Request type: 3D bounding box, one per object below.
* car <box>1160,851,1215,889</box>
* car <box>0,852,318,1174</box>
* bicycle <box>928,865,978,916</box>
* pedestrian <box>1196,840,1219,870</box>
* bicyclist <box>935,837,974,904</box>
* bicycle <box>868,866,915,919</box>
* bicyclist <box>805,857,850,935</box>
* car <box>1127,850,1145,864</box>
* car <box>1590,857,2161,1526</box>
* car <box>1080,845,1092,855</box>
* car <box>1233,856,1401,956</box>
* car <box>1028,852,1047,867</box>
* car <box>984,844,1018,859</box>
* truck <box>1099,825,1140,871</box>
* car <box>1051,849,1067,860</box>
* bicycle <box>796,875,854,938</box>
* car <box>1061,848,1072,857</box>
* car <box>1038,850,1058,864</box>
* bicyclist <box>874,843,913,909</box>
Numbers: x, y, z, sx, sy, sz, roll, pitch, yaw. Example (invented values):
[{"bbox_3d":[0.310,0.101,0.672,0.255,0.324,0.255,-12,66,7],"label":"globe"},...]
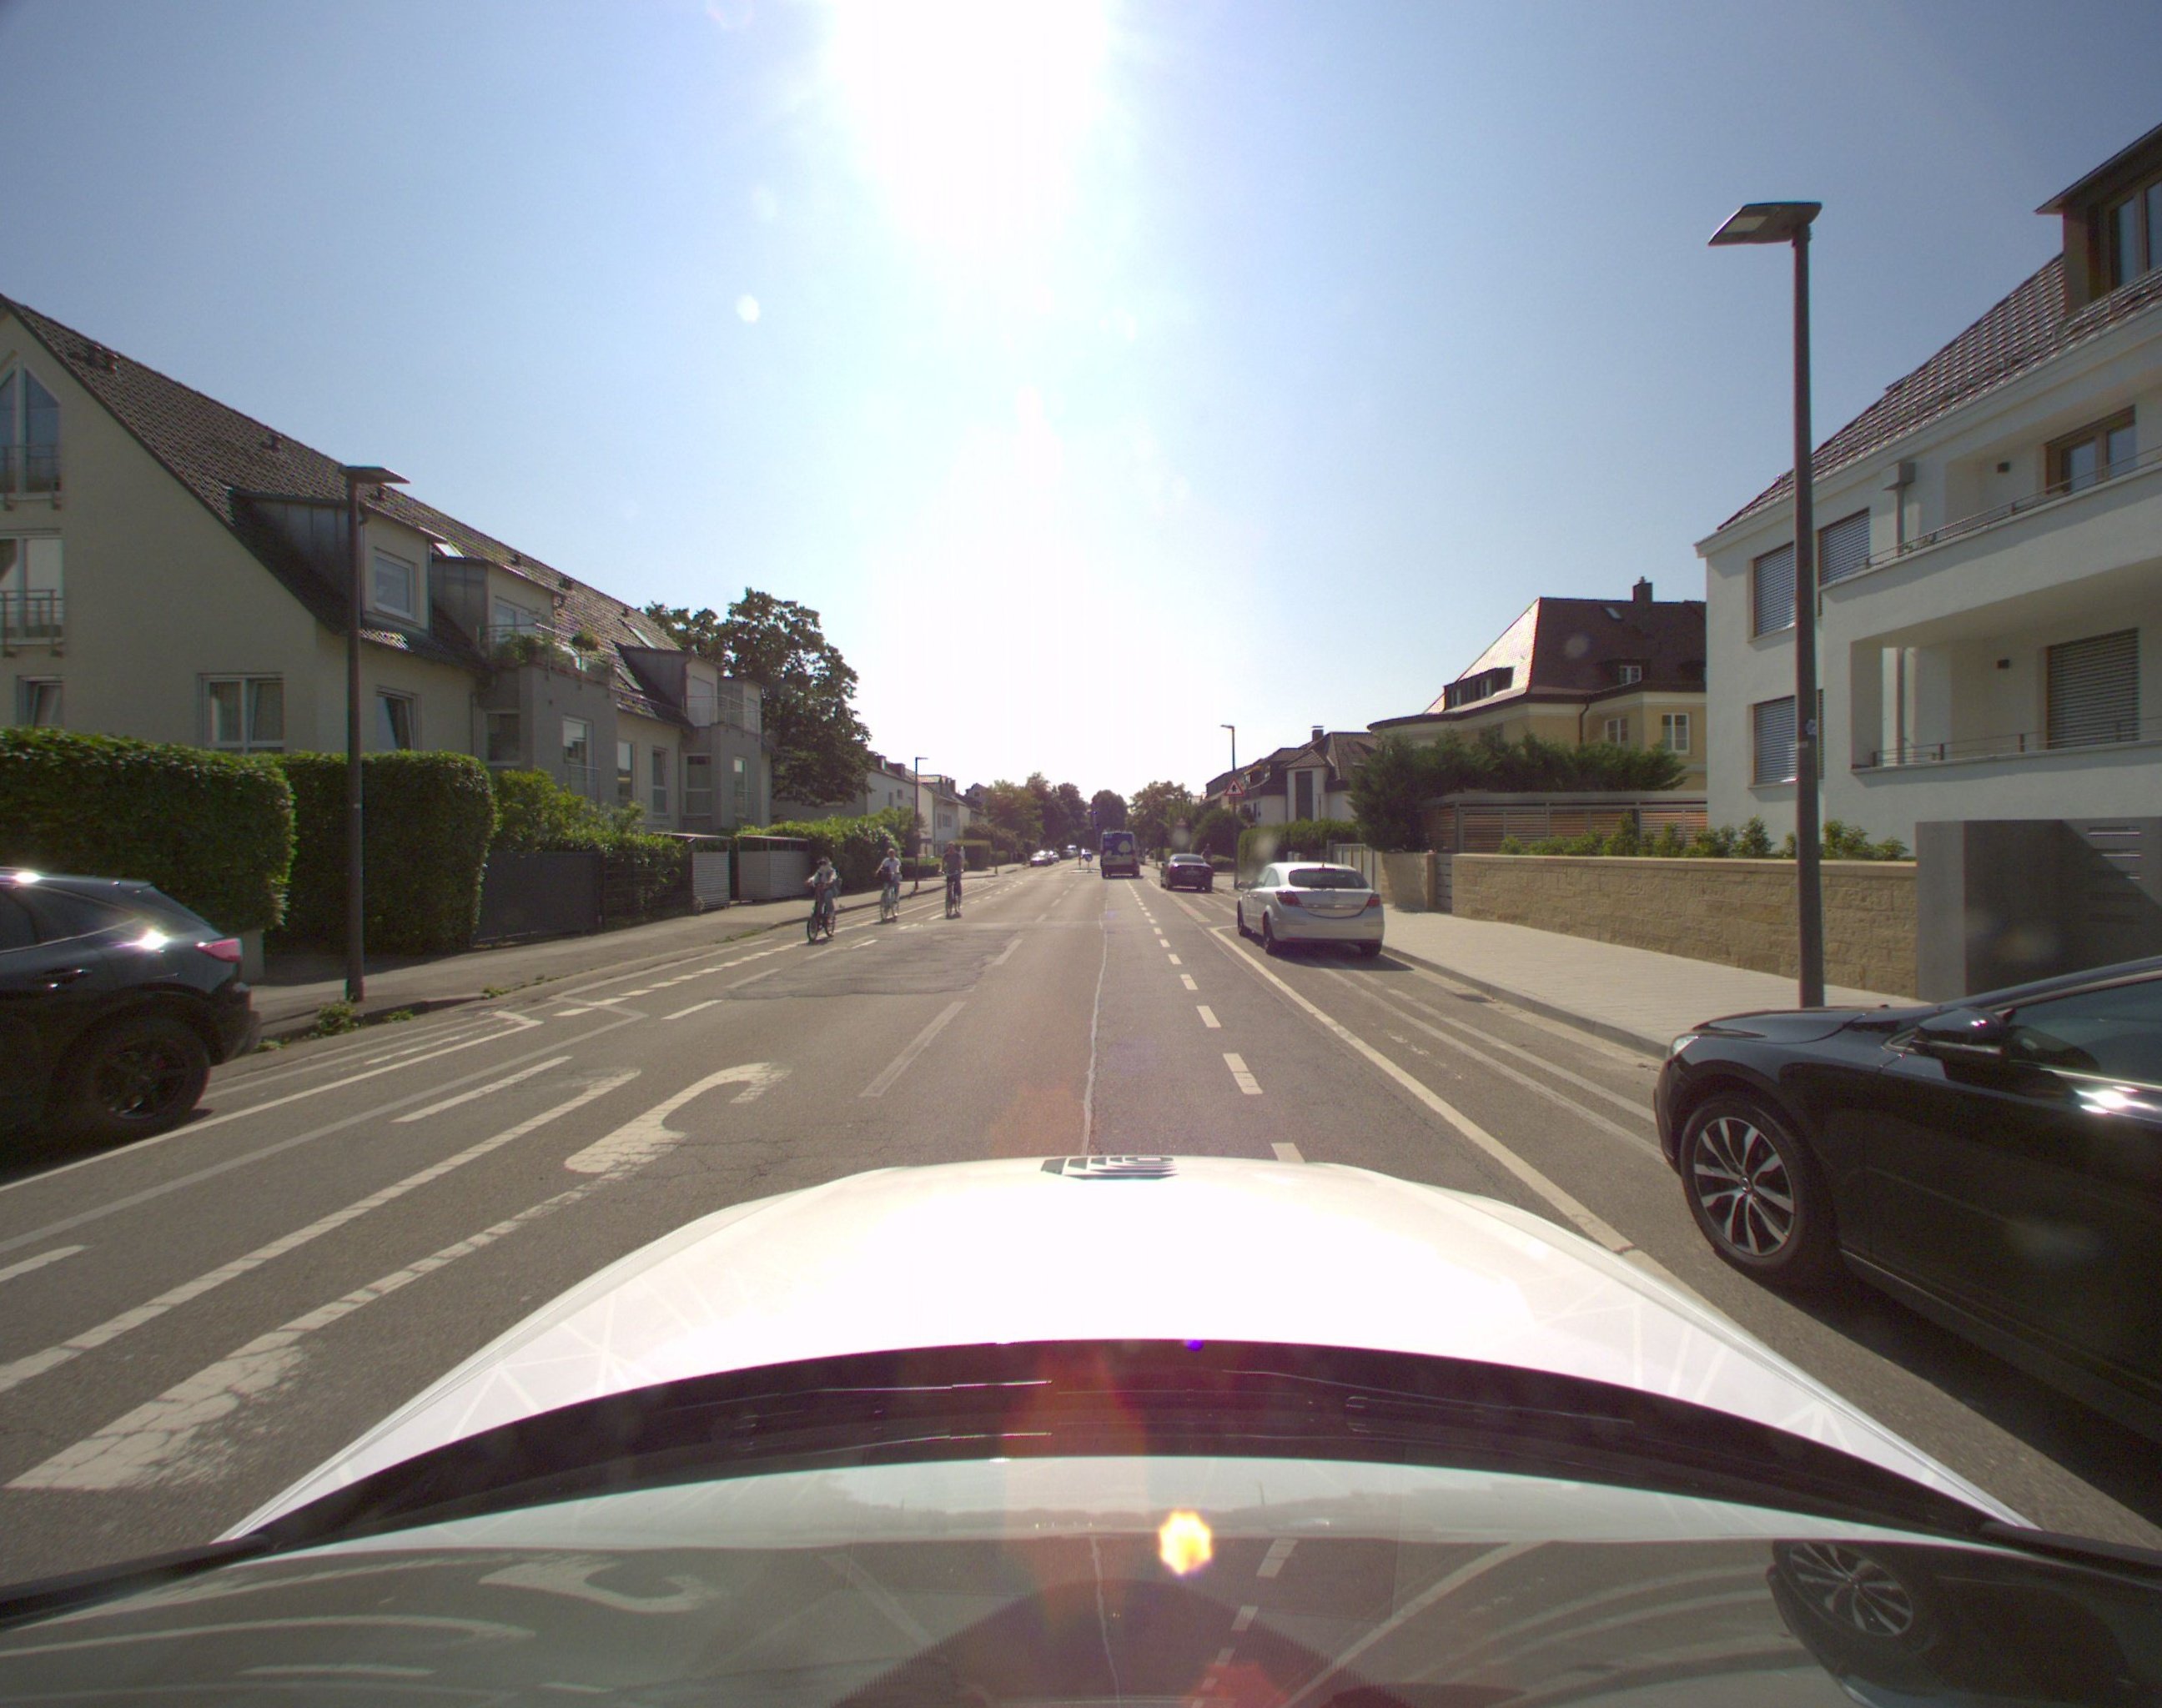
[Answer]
[{"bbox_3d":[4.197,0.588,32.655,1.730,1.329,4.262,3,1,2],"label":"car"},{"bbox_3d":[-6.412,0.869,3.510,1.844,1.610,4.450,-4,0,2],"label":"car"},{"bbox_3d":[-3.278,0.903,21.085,0.779,1.166,2.421,-3,0,2],"label":"bicycle"},{"bbox_3d":[8.145,0.070,52.396,0.904,1.872,1.177,-1,0,-32],"label":"pedestrian"},{"bbox_3d":[-3.294,0.409,21.245,0.746,1.667,1.022,-3,0,2],"label":"bicyclist"},{"bbox_3d":[-4.682,0.930,20.285,0.557,1.185,2.037,-3,0,2],"label":"bicycle"},{"bbox_3d":[-4.947,0.802,15.945,0.488,1.454,0.965,-3,0,2],"label":"bicyclist"},{"bbox_3d":[5.928,0.329,87.699,1.734,1.402,4.073,0,-1,0],"label":"car"},{"bbox_3d":[3.259,0.789,1.737,1.716,1.449,4.168,3,0,0],"label":"car"},{"bbox_3d":[0.848,-0.720,141.821,1.907,1.666,4.509,-2,0,3],"label":"car"},{"bbox_3d":[3.701,0.750,13.519,1.730,1.329,4.078,2,0,2],"label":"car"},{"bbox_3d":[-4.515,0.517,84.426,1.780,1.440,4.152,-2,1,-1],"label":"car"},{"bbox_3d":[-10.071,-0.346,102.667,3.972,1.759,2.001,0,1,1],"label":"car"},{"bbox_3d":[2.279,-0.338,47.880,2.262,2.571,4.396,-1,0,3],"label":"truck"},{"bbox_3d":[-2.907,0.064,107.960,1.779,1.440,4.001,-2,0,1],"label":"car"},{"bbox_3d":[-4.955,0.992,15.830,0.598,1.105,1.347,-3,0,2],"label":"bicycle"},{"bbox_3d":[-2.464,-0.220,142.201,1.775,1.460,4.086,-2,0,1],"label":"car"},{"bbox_3d":[-3.667,0.329,91.226,1.777,1.440,4.115,-2,1,3],"label":"car"},{"bbox_3d":[-4.687,0.531,20.389,0.673,1.580,0.860,-3,0,2],"label":"bicyclist"}]
